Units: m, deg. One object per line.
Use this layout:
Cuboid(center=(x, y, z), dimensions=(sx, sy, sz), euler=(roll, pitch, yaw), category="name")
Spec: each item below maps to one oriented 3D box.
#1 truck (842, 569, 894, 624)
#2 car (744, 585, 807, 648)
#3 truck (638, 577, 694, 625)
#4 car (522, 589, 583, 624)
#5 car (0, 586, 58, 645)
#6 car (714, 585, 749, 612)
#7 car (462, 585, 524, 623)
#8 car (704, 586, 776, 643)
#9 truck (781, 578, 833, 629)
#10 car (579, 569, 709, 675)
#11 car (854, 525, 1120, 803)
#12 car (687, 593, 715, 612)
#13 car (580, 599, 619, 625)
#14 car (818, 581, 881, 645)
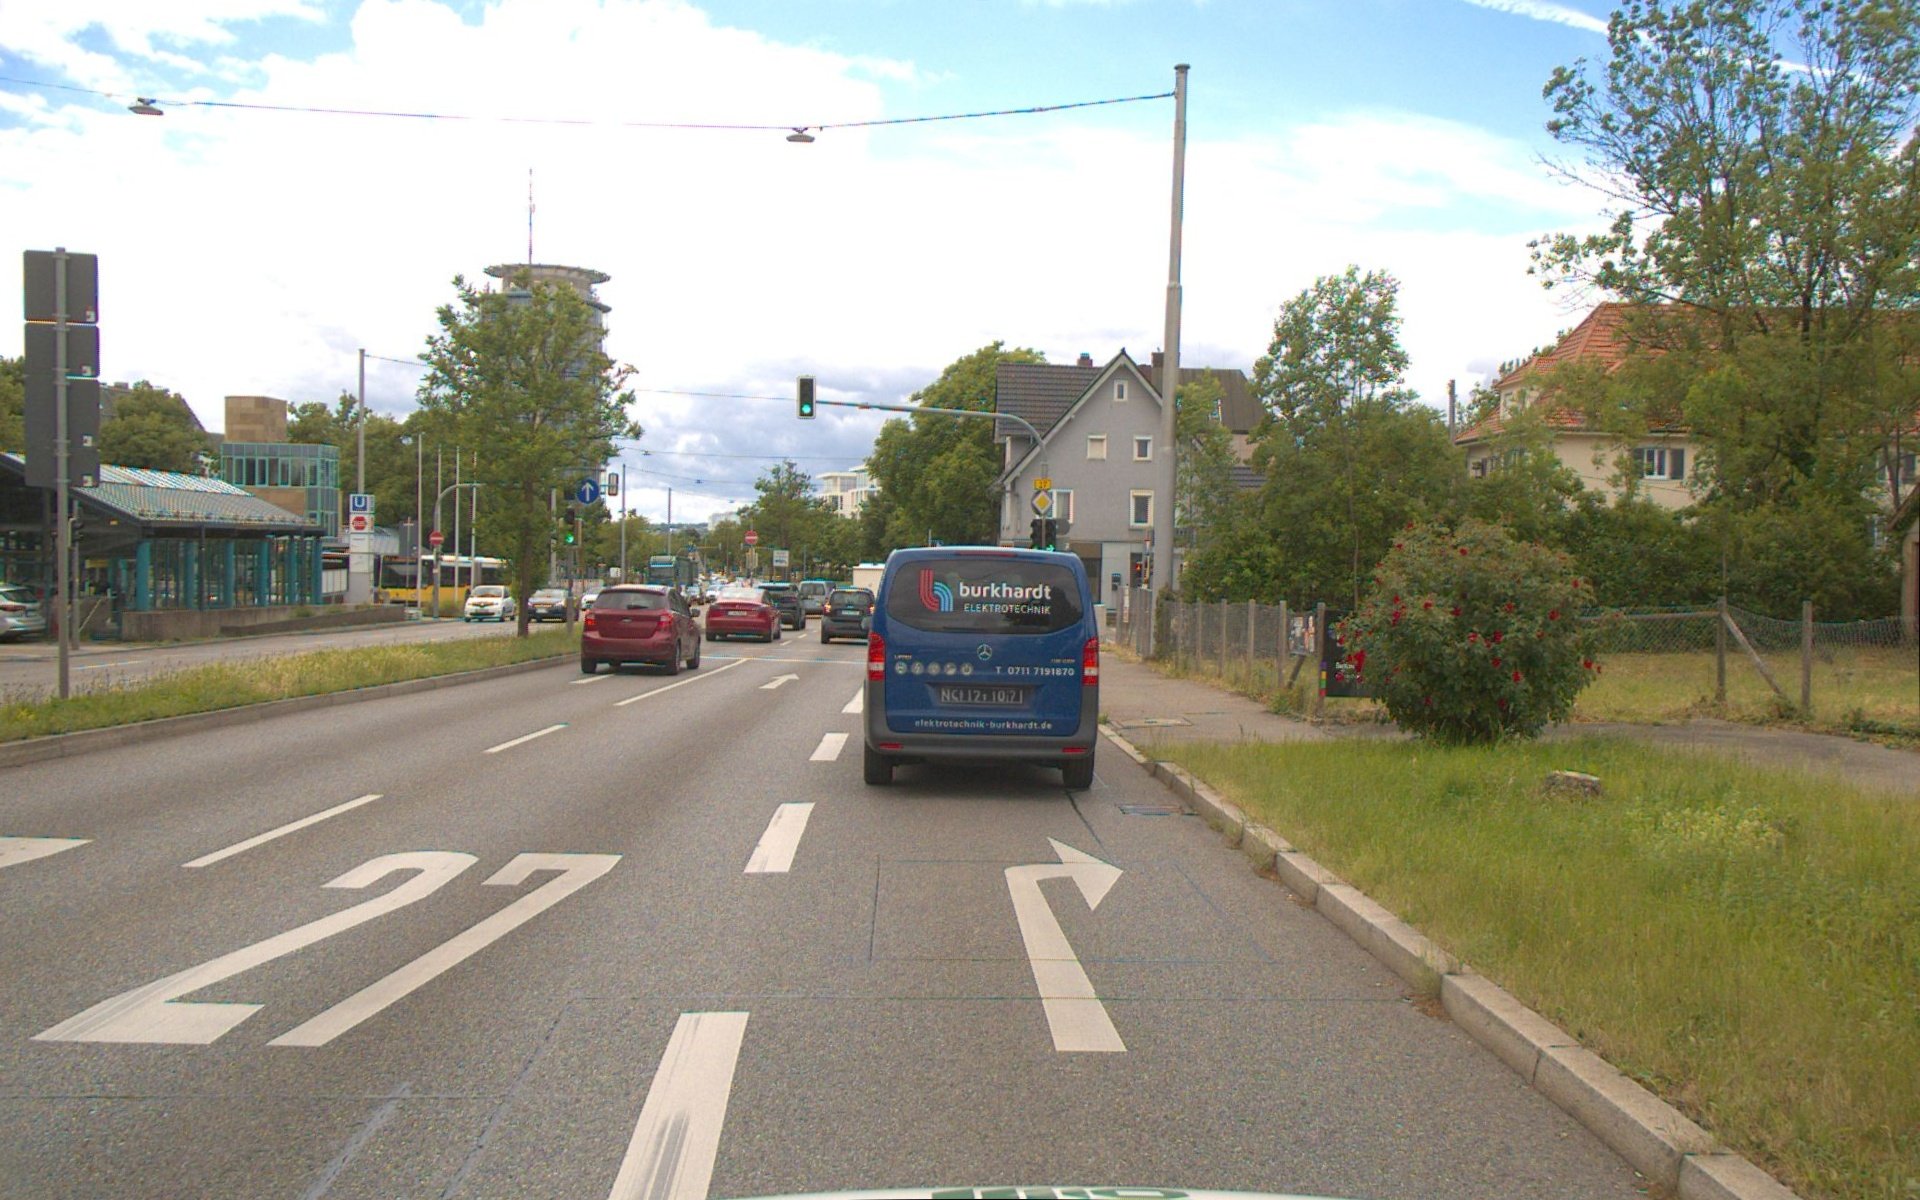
Cuboid(center=(-3.970, -0.144, 72.141), dimensions=(1.953, 2.203, 5.558), euler=(3, 0, -1), category="truck")
Cuboid(center=(-6.618, 0.550, 59.012), dimensions=(1.957, 2.048, 3.991), euler=(2, 1, -10), category="car")
Cuboid(center=(-24.665, 0.098, 139.346), dimensions=(3.301, 3.792, 11.271), euler=(2, 0, -4), category="truck")
Cuboid(center=(-17.370, 0.269, 70.675), dimensions=(1.778, 1.422, 5.005), euler=(-1, 0, -5), category="car")
Cuboid(center=(-24.219, 0.354, 39.850), dimensions=(3.918, 1.378, 1.993), euler=(0, 0, -14), category="car")
Cuboid(center=(-17.836, -0.098, 129.314), dimensions=(1.952, 2.049, 4.181), euler=(0, 0, 3), category="car")
Cuboid(center=(-20.305, 0.150, 71.987), dimensions=(1.591, 1.601, 3.999), euler=(0, 0, -1), category="car")
Cuboid(center=(-6.207, 0.393, 46.293), dimensions=(1.834, 1.512, 3.990), euler=(0, 0, -10), category="car")
Cuboid(center=(-7.215, 0.152, 78.303), dimensions=(1.953, 2.203, 5.558), euler=(3, 0, -1), category="truck")
Cuboid(center=(-5.592, 0.354, 29.658), dimensions=(1.711, 1.753, 3.998), euler=(0, 0, -3), category="car")
Cuboid(center=(0.176, 0.468, 14.447), dimensions=(1.908, 2.000, 4.541), euler=(1, 0, -1), category="car")
Cuboid(center=(-20.376, 0.168, 130.236), dimensions=(1.761, 1.442, 3.998), euler=(0, 0, -2), category="car")
Cuboid(center=(-22.528, 0.742, 103.532), dimensions=(1.698, 1.601, 4.503), euler=(0, 0, -4), category="car")
Cuboid(center=(-3.178, 0.349, 47.423), dimensions=(1.712, 1.753, 3.997), euler=(0, 0, -4), category="car")
